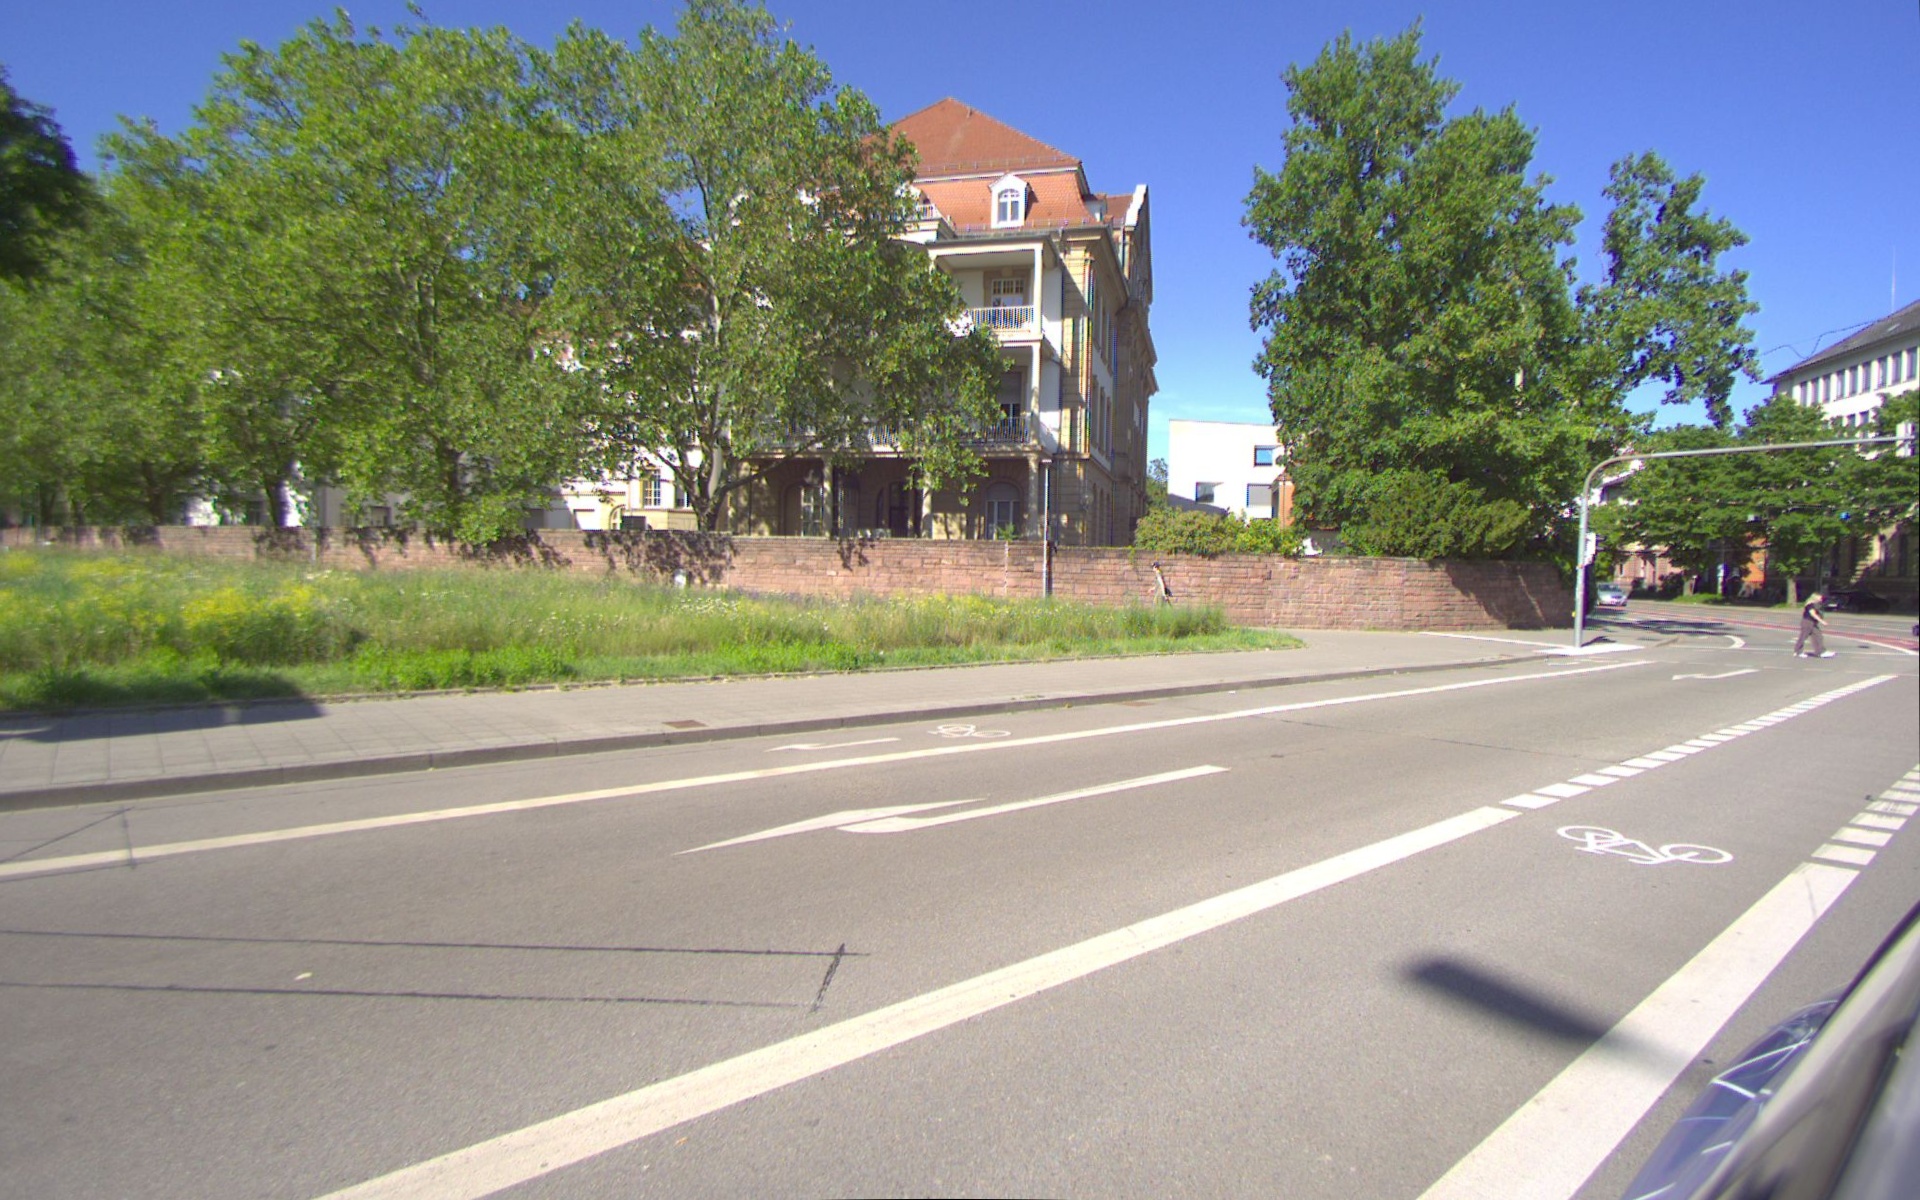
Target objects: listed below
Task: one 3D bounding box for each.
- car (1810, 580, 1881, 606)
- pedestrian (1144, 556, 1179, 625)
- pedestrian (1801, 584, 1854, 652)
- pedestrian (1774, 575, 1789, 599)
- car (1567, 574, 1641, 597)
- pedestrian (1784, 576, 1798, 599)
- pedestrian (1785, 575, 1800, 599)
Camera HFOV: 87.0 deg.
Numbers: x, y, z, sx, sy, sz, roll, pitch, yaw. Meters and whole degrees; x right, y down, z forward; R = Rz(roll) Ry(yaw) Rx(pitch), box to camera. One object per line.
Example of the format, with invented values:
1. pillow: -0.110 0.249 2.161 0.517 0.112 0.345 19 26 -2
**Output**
1. car: 60.310 -0.511 68.988 1.806 1.615 3.988 2 2 11
2. pedestrian: 5.564 -0.266 27.966 0.772 1.881 0.631 1 1 -2
3. pedestrian: 22.337 0.449 26.075 0.620 1.687 0.931 0 2 -42
4. pedestrian: 67.108 -1.038 82.694 0.568 1.927 0.781 1 1 12
5. car: 46.303 -1.012 72.903 1.961 1.610 4.855 0 0 -3
6. pedestrian: 69.406 -1.068 84.531 0.568 1.927 0.849 1 1 12
7. pedestrian: 67.869 -1.041 82.481 0.568 1.927 0.849 1 1 12
